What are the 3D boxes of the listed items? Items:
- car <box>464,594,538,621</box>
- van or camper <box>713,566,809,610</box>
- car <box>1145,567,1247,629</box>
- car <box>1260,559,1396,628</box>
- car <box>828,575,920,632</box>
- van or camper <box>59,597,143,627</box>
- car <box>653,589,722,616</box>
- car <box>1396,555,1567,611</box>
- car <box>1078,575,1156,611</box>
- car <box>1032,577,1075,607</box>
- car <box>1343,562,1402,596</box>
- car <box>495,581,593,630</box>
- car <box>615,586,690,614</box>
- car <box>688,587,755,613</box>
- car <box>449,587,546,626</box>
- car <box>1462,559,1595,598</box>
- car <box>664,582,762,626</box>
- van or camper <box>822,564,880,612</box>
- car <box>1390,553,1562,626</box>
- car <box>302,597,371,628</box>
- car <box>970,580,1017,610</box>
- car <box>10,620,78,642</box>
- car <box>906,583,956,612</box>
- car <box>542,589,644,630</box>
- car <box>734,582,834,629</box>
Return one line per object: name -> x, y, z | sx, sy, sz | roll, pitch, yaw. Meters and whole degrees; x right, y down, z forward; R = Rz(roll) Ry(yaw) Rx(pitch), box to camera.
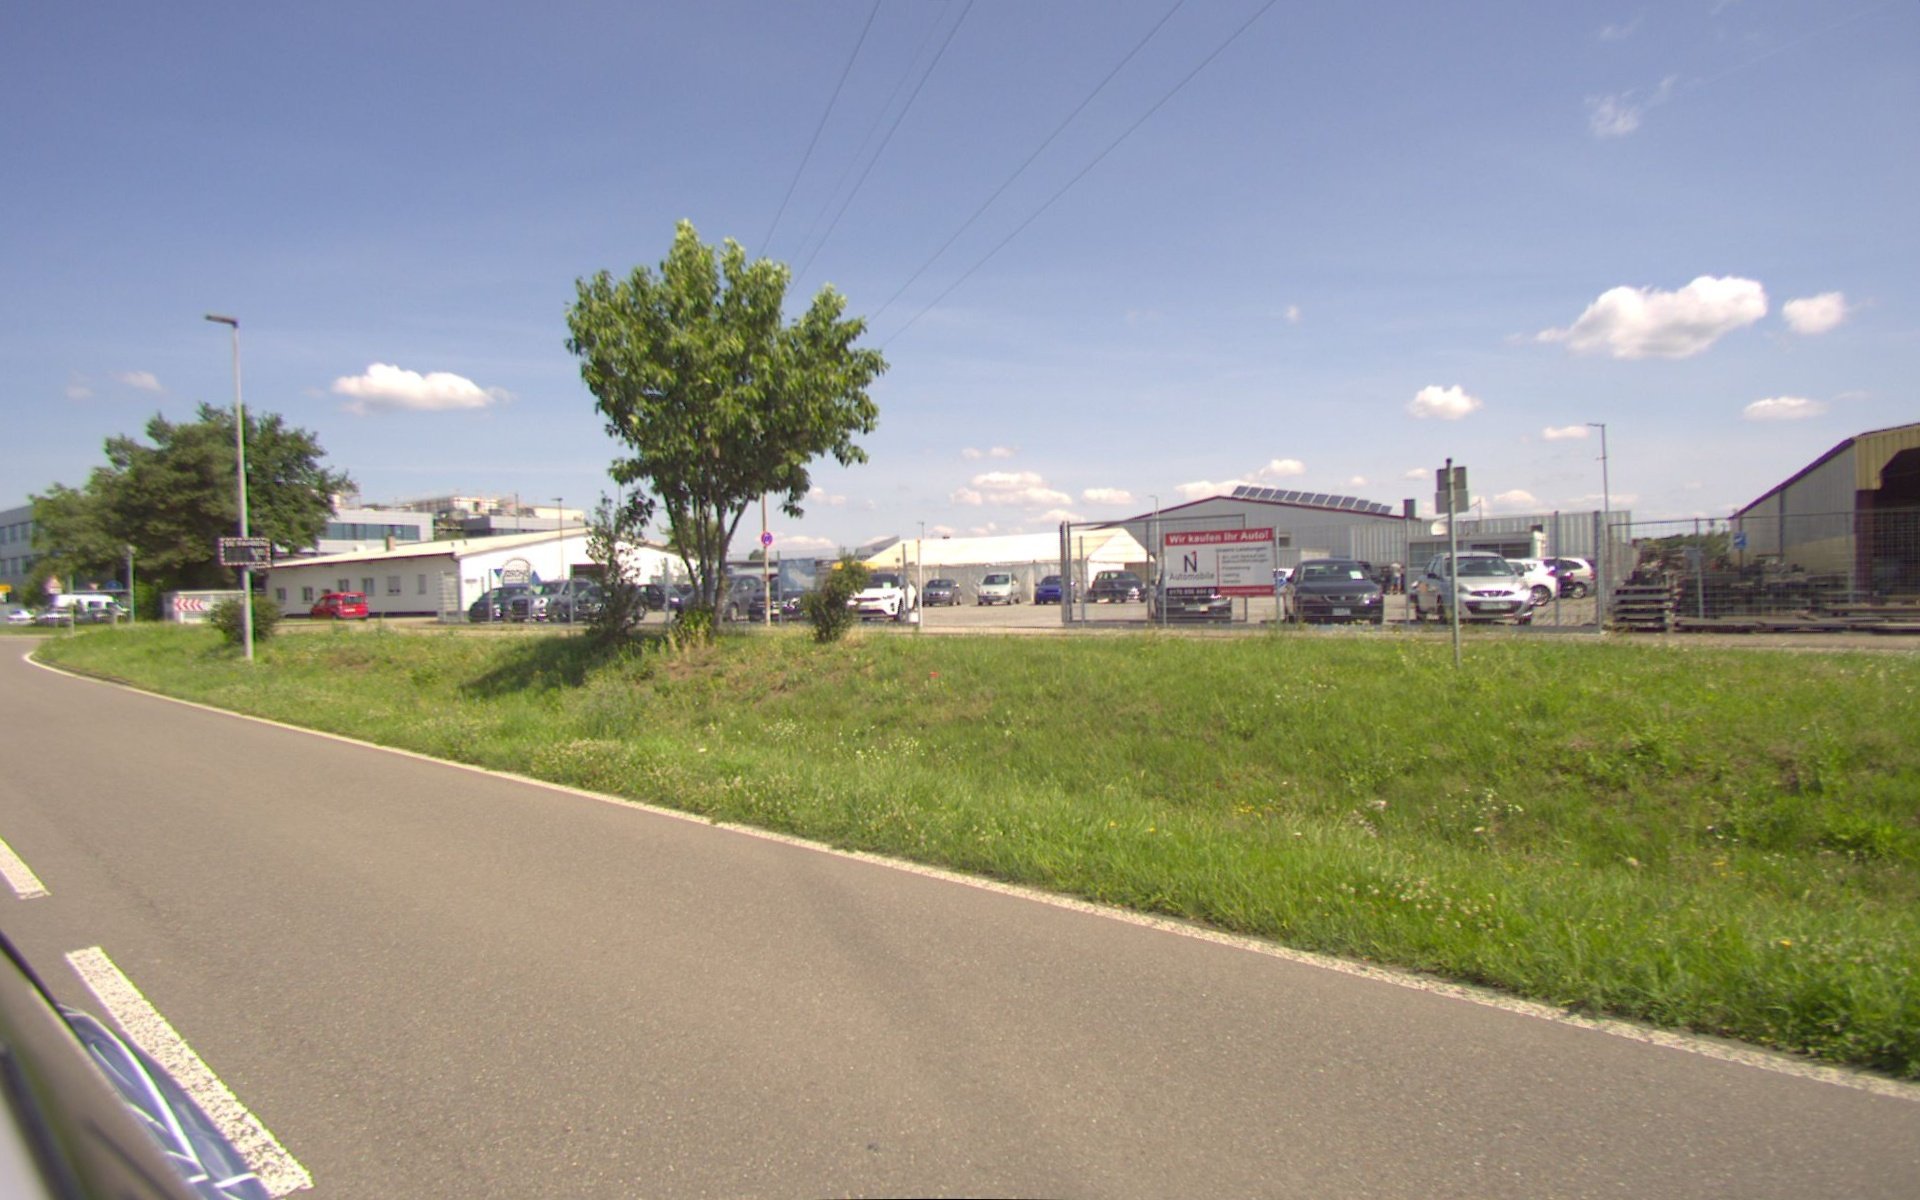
car -> -29.793, 0.460, 65.799 | 1.929, 1.536, 3.959 | -2, 1, 31
van or camper -> -12.850, -0.736, 65.035 | 6.758, 2.619, 1.976 | -1, 1, 37
car -> 5.583, -0.088, 24.393 | 1.920, 1.320, 3.991 | -2, 1, 7
car -> 7.996, -0.160, 22.376 | 1.920, 1.320, 3.991 | -2, 1, 7
car -> -2.512, 0.054, 30.583 | 1.920, 1.552, 3.991 | -2, 1, 7
van or camper -> -79.368, 1.077, 93.606 | 5.492, 2.516, 2.085 | -2, 1, -26
car -> -16.161, 0.158, 59.929 | 3.993, 1.444, 1.902 | -1, 1, 37
car -> 15.942, -0.515, 31.140 | 4.200, 1.497, 1.995 | -2, 1, 9
car -> 7.449, -0.356, 48.531 | 1.909, 1.585, 4.013 | -3, 1, -21
car -> 4.519, -0.414, 48.422 | 1.920, 1.320, 3.991 | -2, 1, 7
car -> 22.610, -1.170, 55.393 | 1.997, 1.707, 3.951 | -1, 1, 37
car -> -16.077, 0.174, 39.349 | 1.703, 1.717, 4.100 | -2, 1, 7
car -> -17.475, 0.010, 57.520 | 3.985, 1.444, 1.906 | -2, 1, 31
car -> -14.662, 0.005, 62.148 | 3.993, 1.444, 1.902 | -1, 1, 37
car -> -18.706, 0.227, 41.097 | 1.783, 1.412, 3.556 | -2, 1, 12
car -> 21.622, -0.824, 38.644 | 3.953, 1.320, 1.839 | -2, 1, 8
car -> -8.276, 0.093, 34.296 | 1.920, 1.320, 3.991 | -2, 1, 7
van or camper -> -5.762, -0.668, 54.280 | 1.872, 2.393, 5.329 | -2, 1, 7
car -> 10.682, -0.235, 21.300 | 1.920, 1.320, 3.991 | -2, 1, 7
car -> -37.019, 0.735, 60.047 | 4.219, 1.757, 1.977 | -1, 1, 35
car -> 1.688, -0.277, 50.000 | 1.920, 1.320, 3.991 | -2, 1, 7
car -> -74.382, 2.483, 82.214 | 2.000, 1.530, 3.944 | 0, 1, 43
car -> -1.408, -0.165, 51.228 | 1.920, 1.320, 3.991 | -2, 1, 7
car -> -13.514, 0.320, 37.505 | 1.920, 1.320, 3.991 | -2, 1, 7
car -> -5.507, 0.126, 32.158 | 1.921, 1.320, 3.989 | -2, 1, 9
